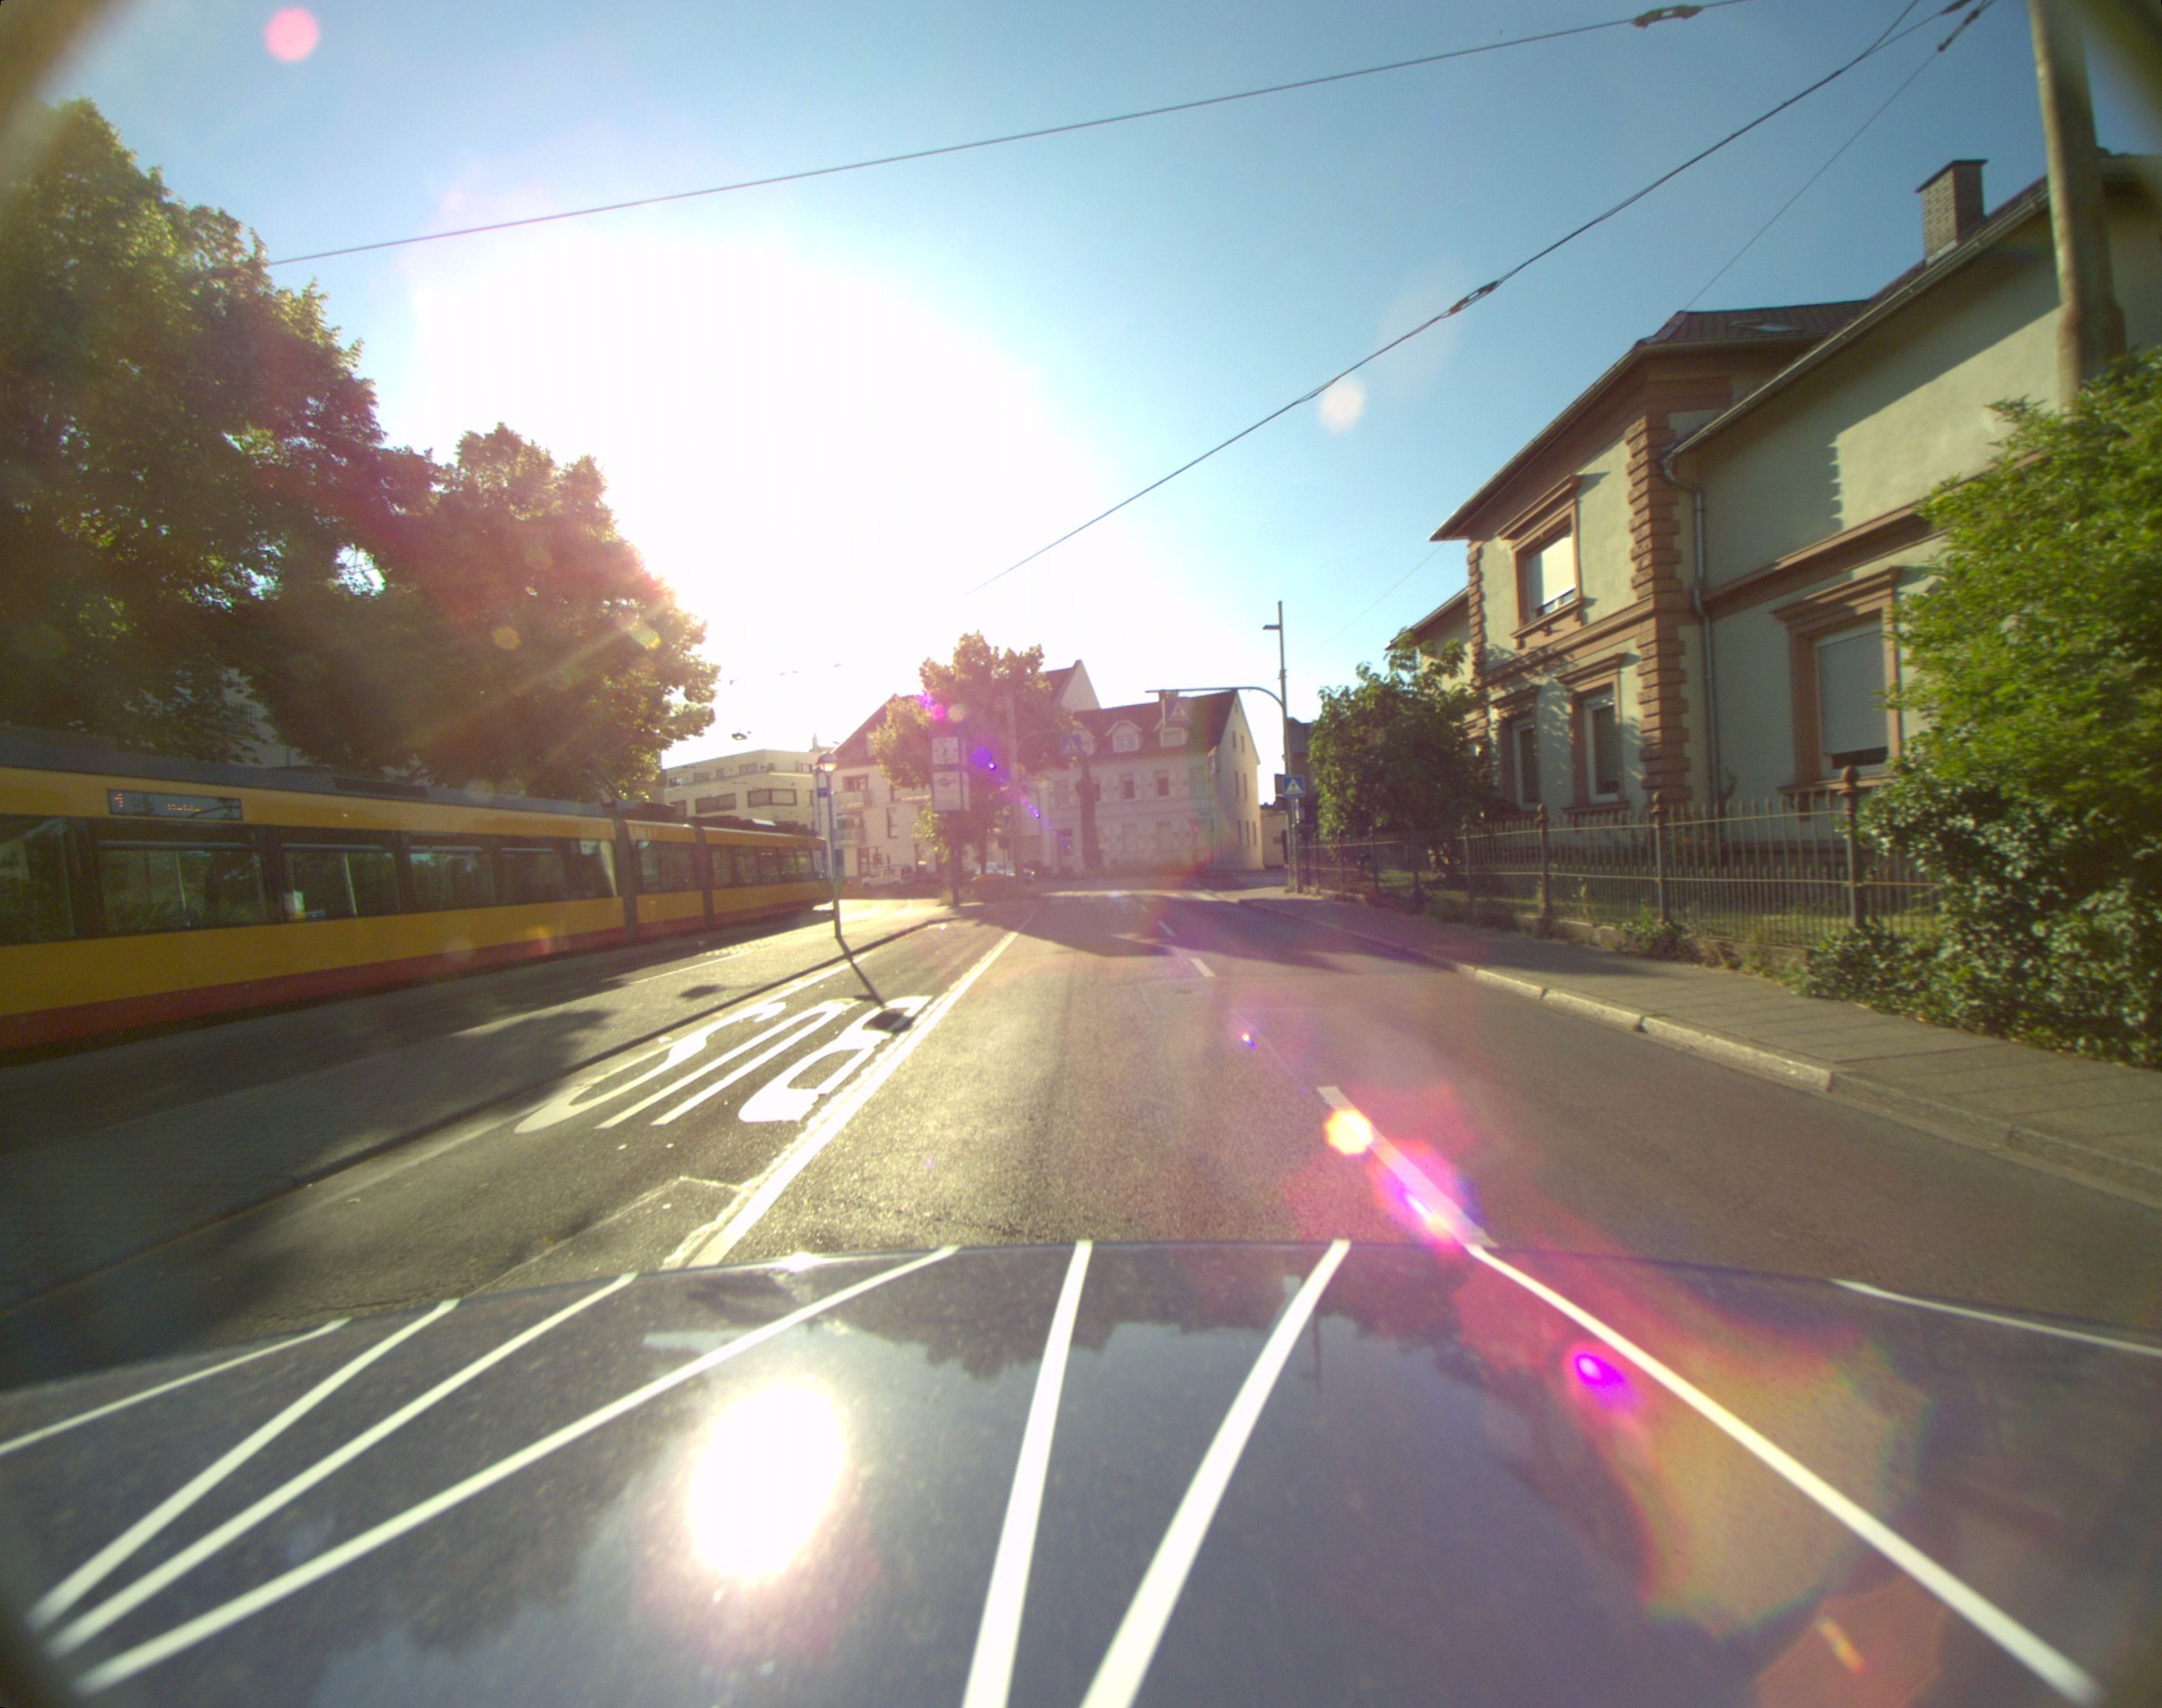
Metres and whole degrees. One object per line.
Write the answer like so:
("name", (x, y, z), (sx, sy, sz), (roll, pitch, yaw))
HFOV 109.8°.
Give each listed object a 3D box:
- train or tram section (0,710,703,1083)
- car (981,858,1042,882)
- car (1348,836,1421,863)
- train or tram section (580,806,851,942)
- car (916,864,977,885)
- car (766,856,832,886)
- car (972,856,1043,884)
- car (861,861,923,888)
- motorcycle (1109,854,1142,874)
("train or tram section", (-11.360, 0.463, 11.740), (2.965, 3.401, 15.940), (-2, 0, 0))
("car", (-5.068, 1.196, 55.419), (4.196, 1.453, 1.610), (-5, 0, 32))
("car", (19.025, -0.302, 47.701), (3.879, 1.445, 1.702), (-3, 0, 4))
("train or tram section", (-11.463, 0.558, 26.316), (2.965, 3.401, 13.463), (-2, 0, -1))
("car", (-10.240, 1.565, 57.806), (4.116, 1.339, 1.938), (-4, 0, 28))
("car", (-21.355, 1.281, 57.553), (4.781, 1.921, 1.875), (-5, 0, 28))
("car", (-4.250, 0.944, 43.509), (2.003, 1.453, 4.438), (-3, -1, -37))
("car", (-14.964, 1.583, 60.159), (4.263, 1.945, 2.003), (-2, 0, 20))
("motorcycle", (2.997, 0.692, 51.237), (2.104, 1.220, 0.625), (-3, 1, 28))
